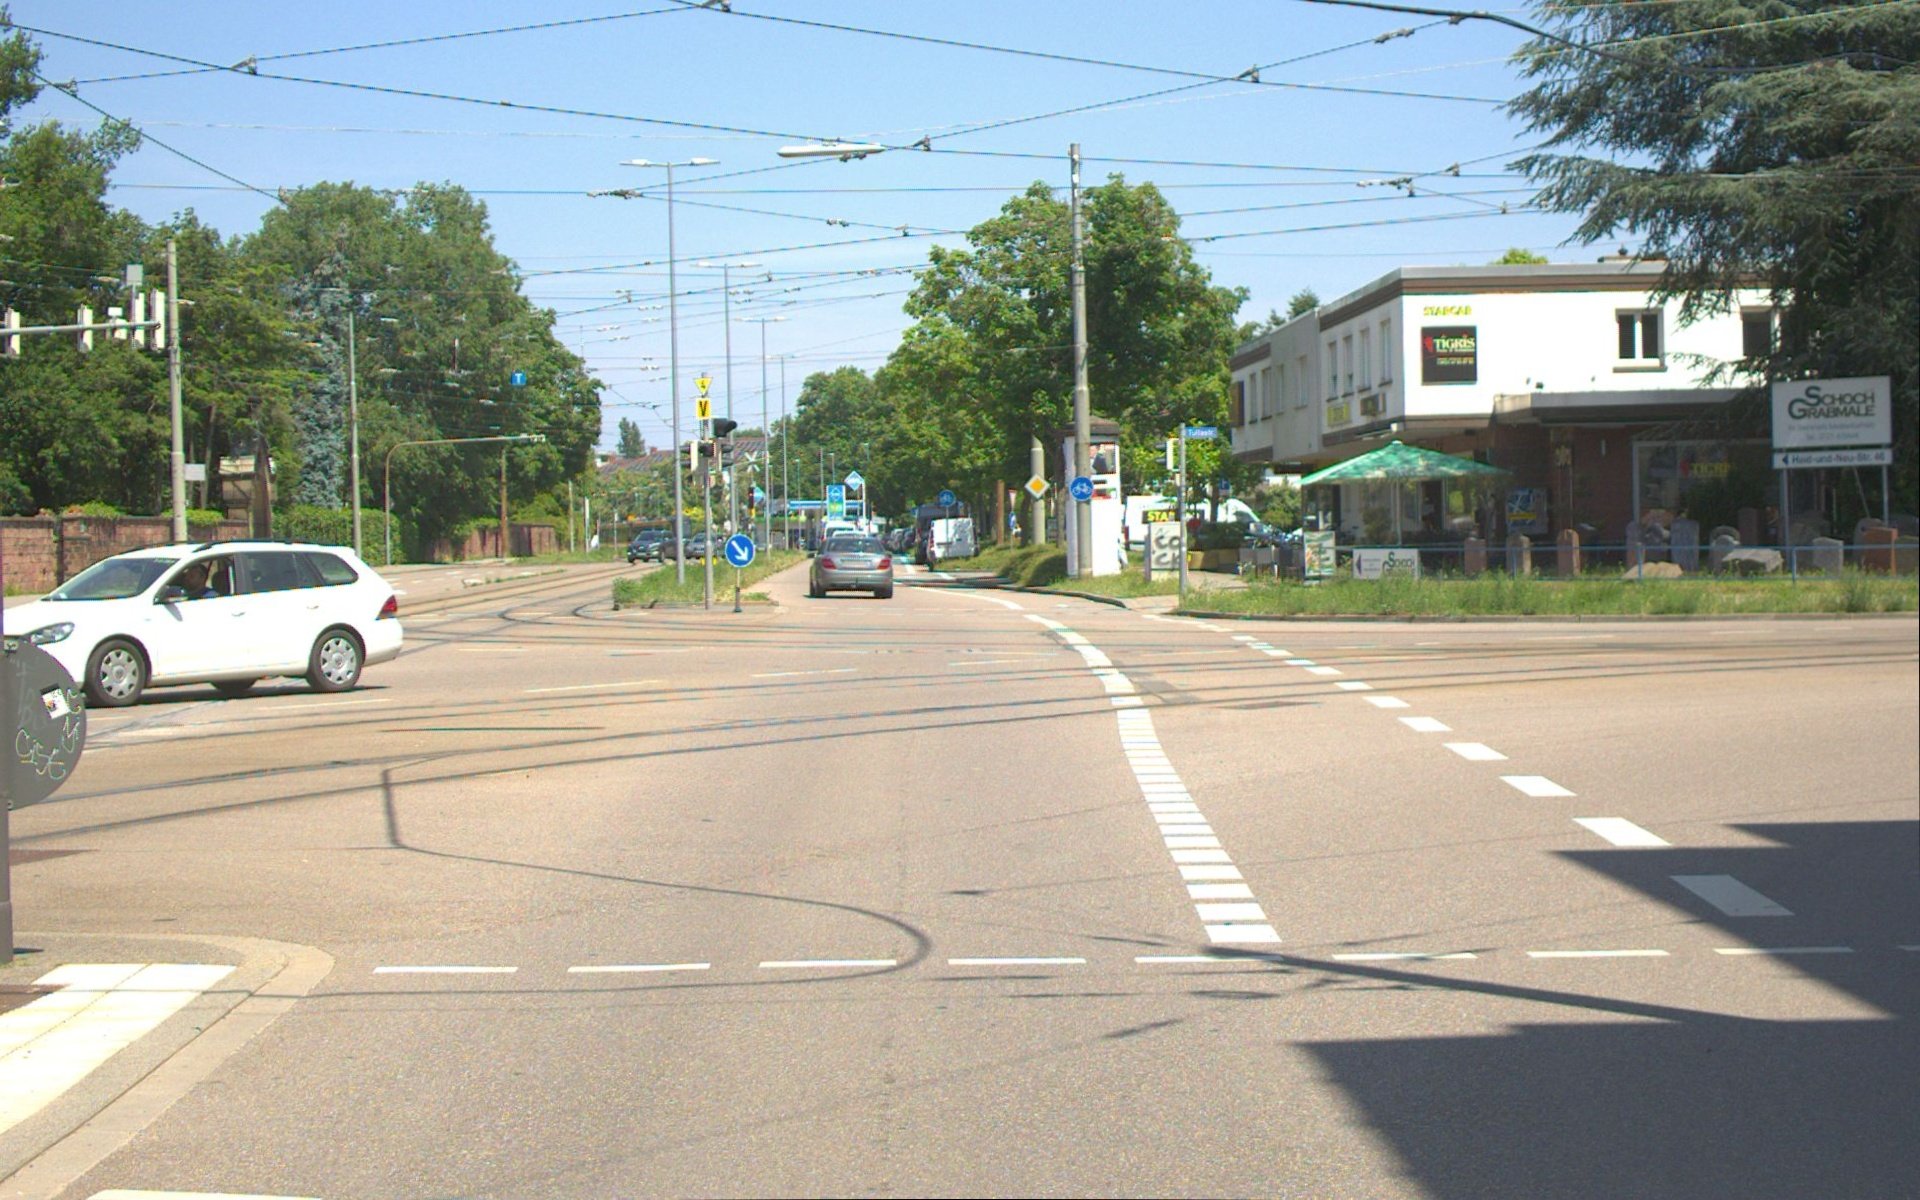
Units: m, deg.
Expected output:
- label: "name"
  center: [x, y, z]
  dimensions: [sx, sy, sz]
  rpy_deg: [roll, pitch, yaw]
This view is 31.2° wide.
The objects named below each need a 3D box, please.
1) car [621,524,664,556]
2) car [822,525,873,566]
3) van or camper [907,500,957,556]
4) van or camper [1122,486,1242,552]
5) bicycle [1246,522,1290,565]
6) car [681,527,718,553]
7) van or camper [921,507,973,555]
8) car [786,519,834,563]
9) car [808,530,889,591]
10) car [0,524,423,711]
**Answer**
- label: "car"
  center: [-16.531, -3.136, 179.084]
  dimensions: [1.820, 1.597, 4.520]
  rpy_deg: [-1, 1, 0]
- label: "car"
  center: [-4.024, -1.977, 123.418]
  dimensions: [1.670, 1.430, 3.474]
  rpy_deg: [-1, 1, 0]
- label: "van or camper"
  center: [-1.260, -3.200, 152.831]
  dimensions: [1.993, 2.456, 4.001]
  rpy_deg: [-1, 1, -4]
- label: "van or camper"
  center: [9.244, -3.388, 143.383]
  dimensions: [4.756, 2.662, 2.136]
  rpy_deg: [-1, 1, -3]
- label: "bicycle"
  center: [7.568, -1.403, 84.485]
  dimensions: [1.034, 1.011, 2.636]
  rpy_deg: [-1, 1, 6]
- label: "car"
  center: [-14.407, -3.328, 190.443]
  dimensions: [1.641, 1.416, 4.168]
  rpy_deg: [-1, 1, 1]
- label: "van or camper"
  center: [-0.502, -2.628, 130.366]
  dimensions: [1.922, 1.766, 4.000]
  rpy_deg: [-1, 1, -1]
- label: "car"
  center: [-6.558, -2.586, 150.082]
  dimensions: [1.993, 1.853, 4.001]
  rpy_deg: [-1, 1, -3]
- label: "car"
  center: [-2.593, -0.938, 79.475]
  dimensions: [1.636, 1.346, 3.843]
  rpy_deg: [-1, 1, -5]
- label: "car"
  center: [-7.407, 0.115, 32.513]
  dimensions: [1.822, 1.484, 4.489]
  rpy_deg: [0, 3, 39]
